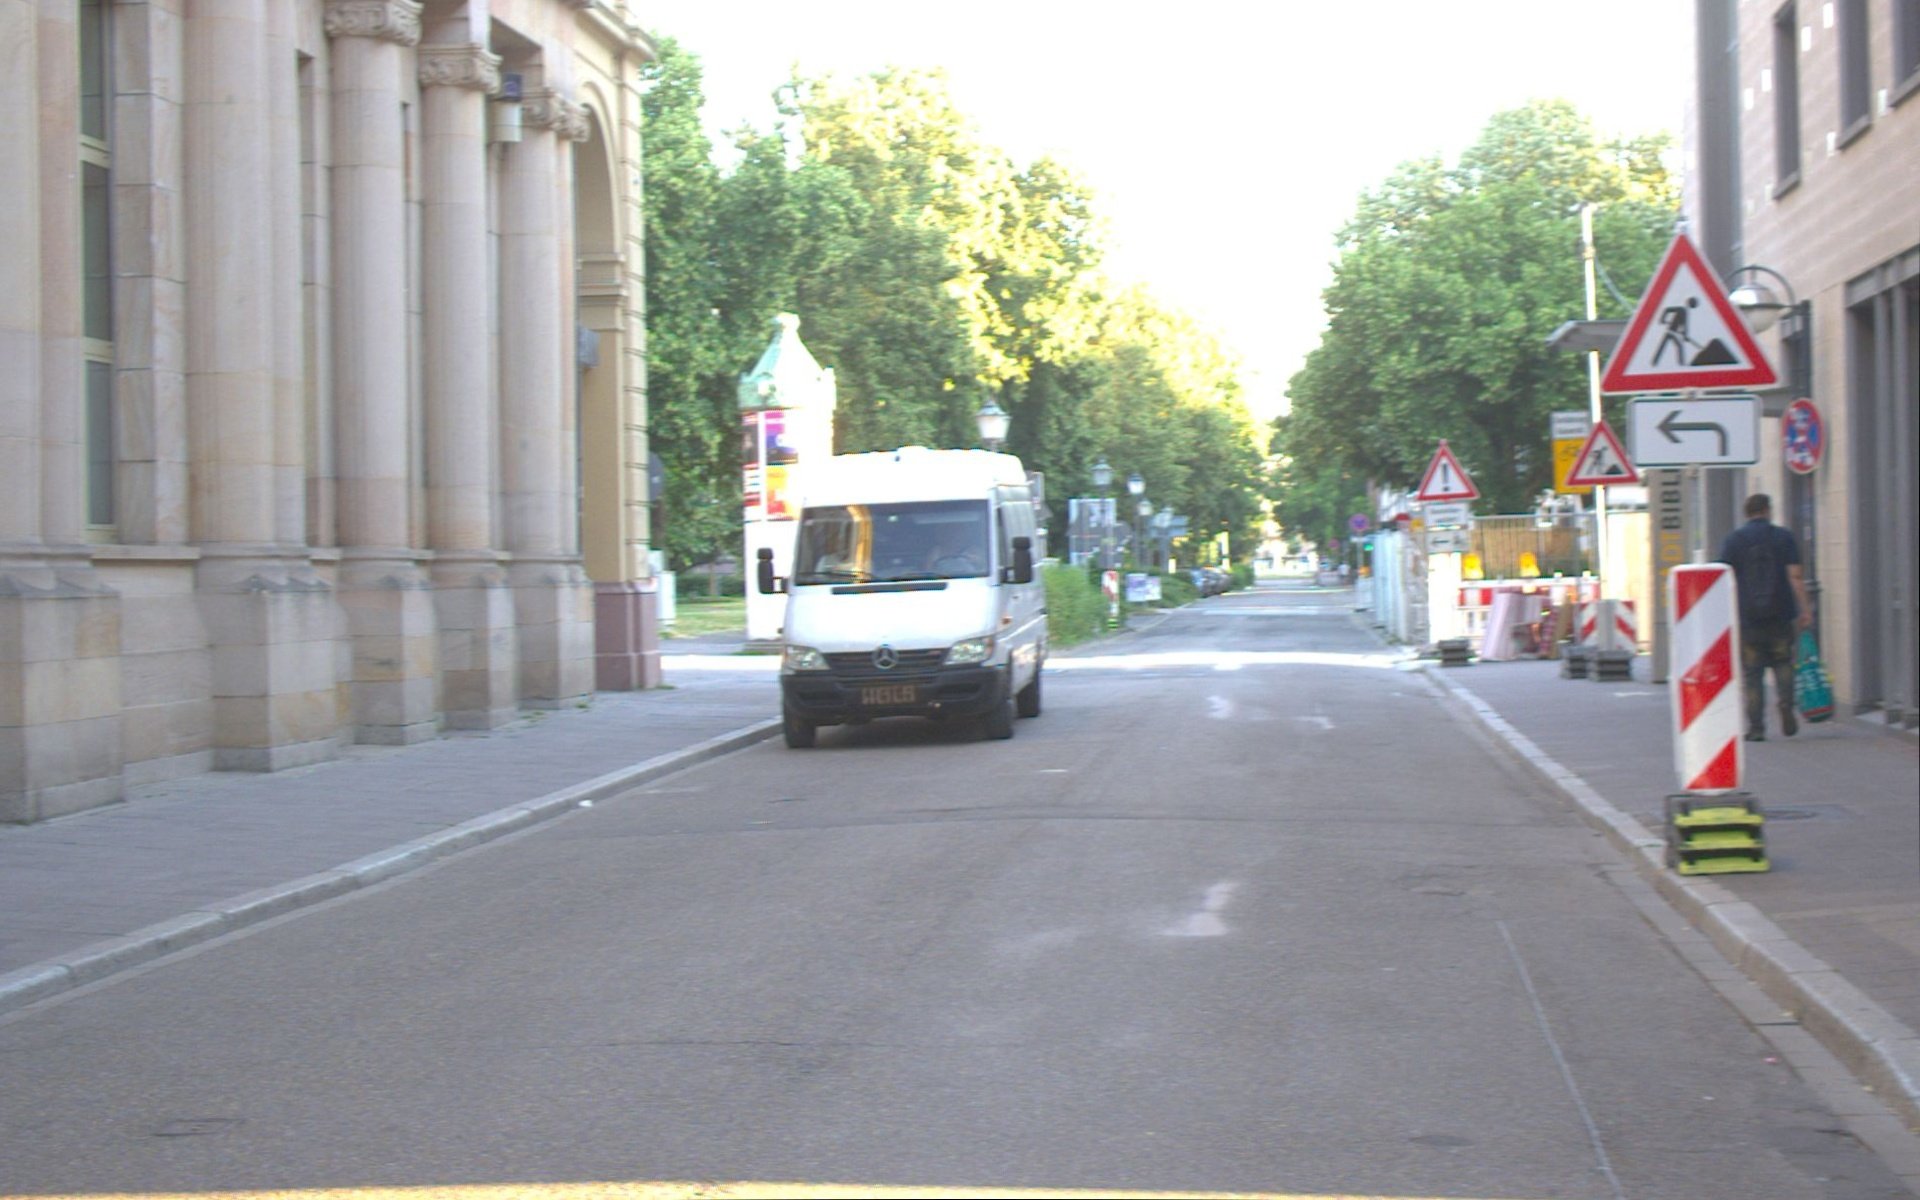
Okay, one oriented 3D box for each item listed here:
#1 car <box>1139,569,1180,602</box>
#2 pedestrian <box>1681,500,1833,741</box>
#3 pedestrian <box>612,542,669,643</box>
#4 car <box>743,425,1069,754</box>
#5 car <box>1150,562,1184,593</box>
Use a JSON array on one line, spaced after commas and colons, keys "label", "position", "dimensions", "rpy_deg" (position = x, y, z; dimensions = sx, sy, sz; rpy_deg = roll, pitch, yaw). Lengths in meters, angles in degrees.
[{"label": "car", "position": [7.825, -0.562, 134.700], "dimensions": [1.468, 1.251, 3.678], "rpy_deg": [0, 1, 5]}, {"label": "pedestrian", "position": [5.785, 0.140, 24.995], "dimensions": [0.923, 1.696, 0.868], "rpy_deg": [-2, 0, 5]}, {"label": "pedestrian", "position": [-5.488, -0.130, 59.017], "dimensions": [0.746, 1.696, 0.702], "rpy_deg": [-2, 0, 13]}, {"label": "car", "position": [-0.338, -0.127, 30.797], "dimensions": [1.996, 2.503, 6.468], "rpy_deg": [-4, 0, 6]}, {"label": "car", "position": [9.679, -1.053, 160.557], "dimensions": [1.468, 1.399, 3.678], "rpy_deg": [0, 1, 5]}]
